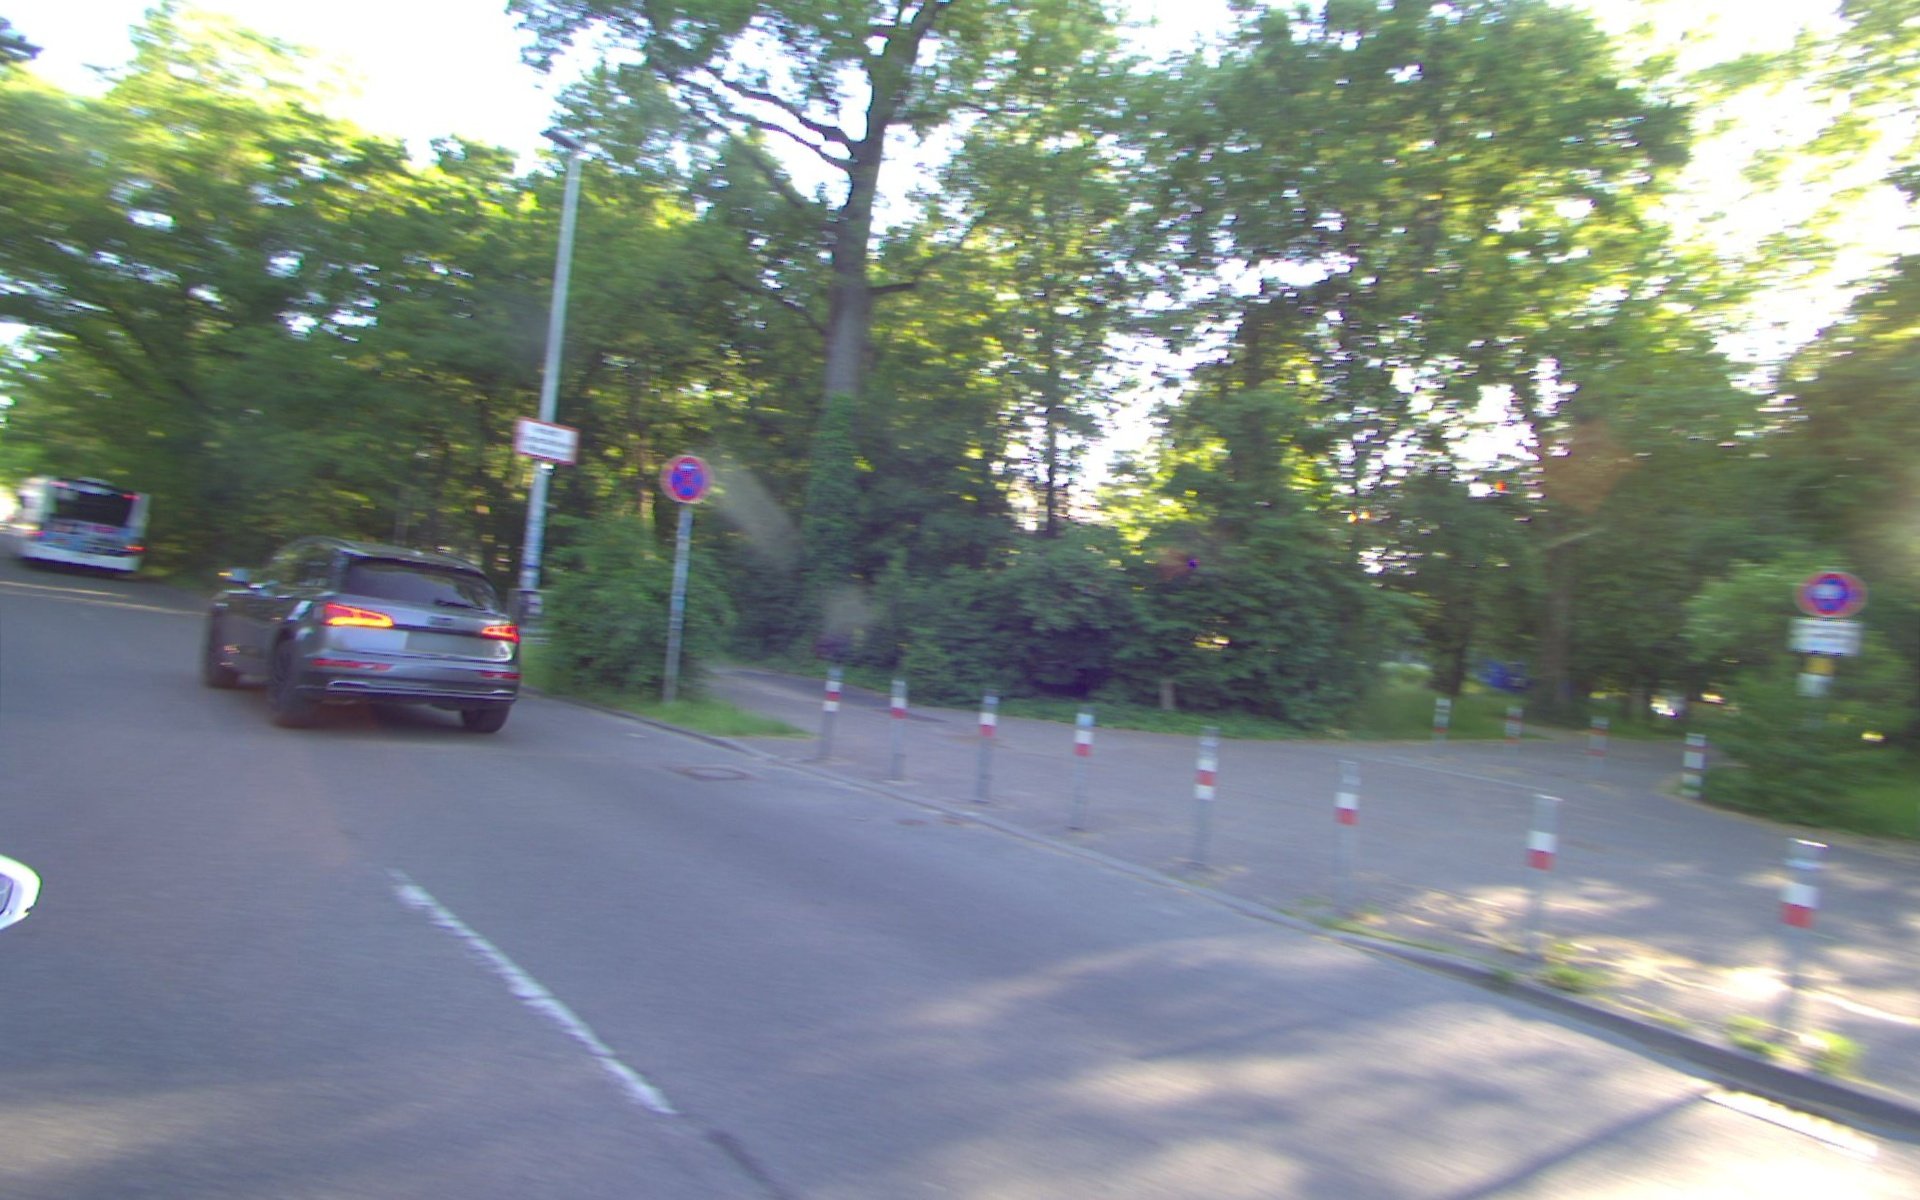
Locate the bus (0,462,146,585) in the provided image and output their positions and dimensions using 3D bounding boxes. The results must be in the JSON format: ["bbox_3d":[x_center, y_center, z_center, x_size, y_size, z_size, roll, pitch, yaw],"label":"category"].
[{"bbox_3d":[-30.843,-2.590,34.423,12.113,3.120,3.009,5,-4,45],"label":"bus"}]

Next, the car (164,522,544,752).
[{"bbox_3d":[-6.048,0.263,9.798,4.307,1.624,1.986,5,-5,44],"label":"car"}]
